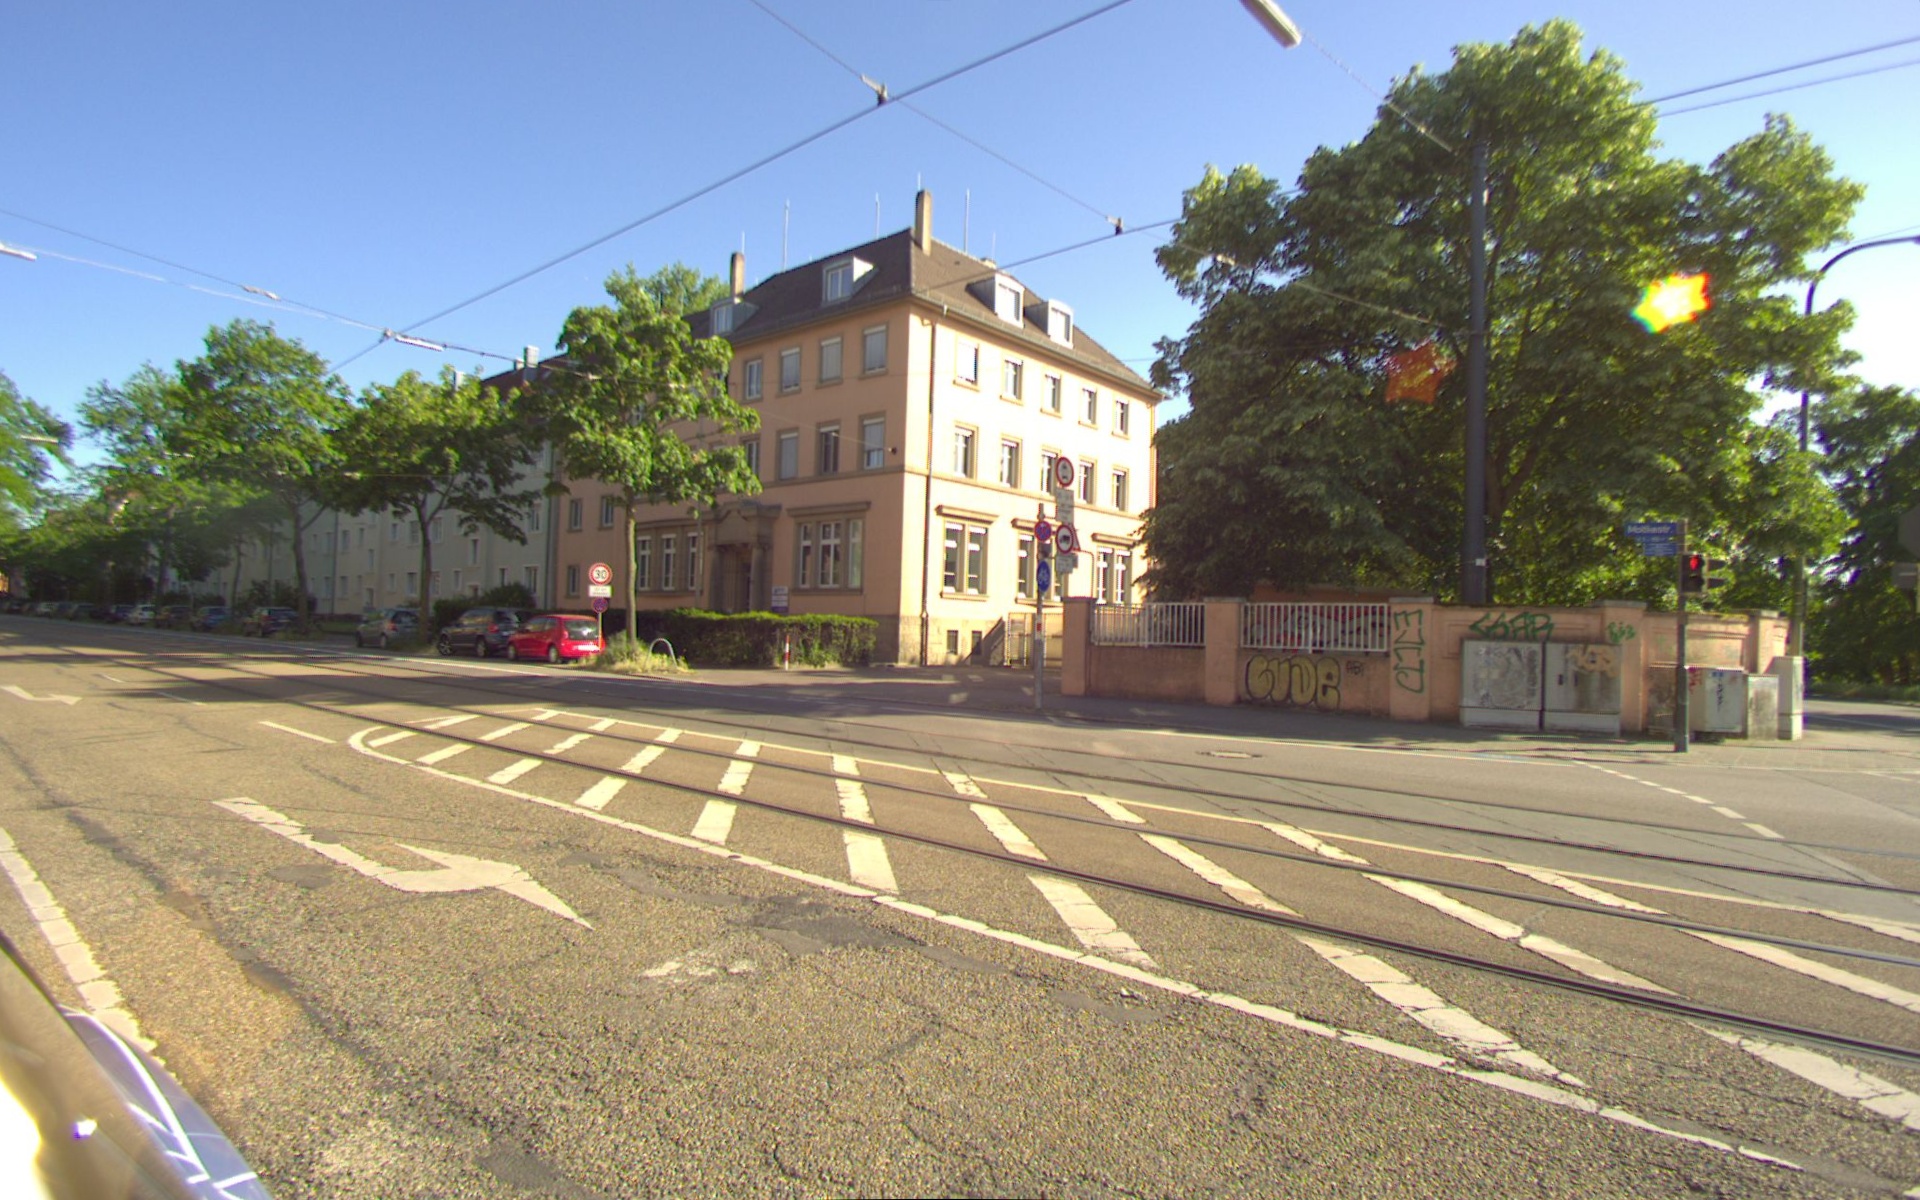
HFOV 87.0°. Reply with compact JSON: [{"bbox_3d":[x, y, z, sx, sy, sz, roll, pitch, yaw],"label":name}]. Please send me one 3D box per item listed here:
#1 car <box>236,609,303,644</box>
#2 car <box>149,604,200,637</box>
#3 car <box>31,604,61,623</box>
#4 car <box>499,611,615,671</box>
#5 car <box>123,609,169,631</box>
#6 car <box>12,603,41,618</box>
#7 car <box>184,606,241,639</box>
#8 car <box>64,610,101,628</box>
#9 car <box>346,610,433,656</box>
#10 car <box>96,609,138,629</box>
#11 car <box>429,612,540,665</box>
[{"bbox_3d":[-34.646,1.325,50.750,3.627,1.611,1.793,0,-3,40],"label":"car"},{"bbox_3d":[-50.260,1.302,64.740,3.627,1.955,1.793,0,-3,40],"label":"car"},{"bbox_3d":[-93.875,1.366,103.938,3.627,1.792,1.793,0,-3,40],"label":"car"},{"bbox_3d":[-12.416,1.244,31.130,3.370,1.719,1.794,0,-3,38],"label":"car"},{"bbox_3d":[-57.179,1.388,71.039,3.627,1.430,1.793,0,-3,40],"label":"car"},{"bbox_3d":[-102.796,1.196,111.422,3.627,1.535,1.793,0,-3,40],"label":"car"},{"bbox_3d":[-43.424,1.302,58.773,3.792,1.839,1.793,0,-3,40],"label":"car"},{"bbox_3d":[-76.379,1.662,88.059,3.627,1.430,1.793,0,-3,40],"label":"car"},{"bbox_3d":[-22.533,1.294,39.935,3.876,1.671,1.792,0,-3,42],"label":"car"},{"bbox_3d":[-63.976,1.417,76.821,3.627,1.430,1.793,0,-3,40],"label":"car"},{"bbox_3d":[-16.001,1.274,34.028,3.815,1.671,1.794,0,-3,38],"label":"car"}]
